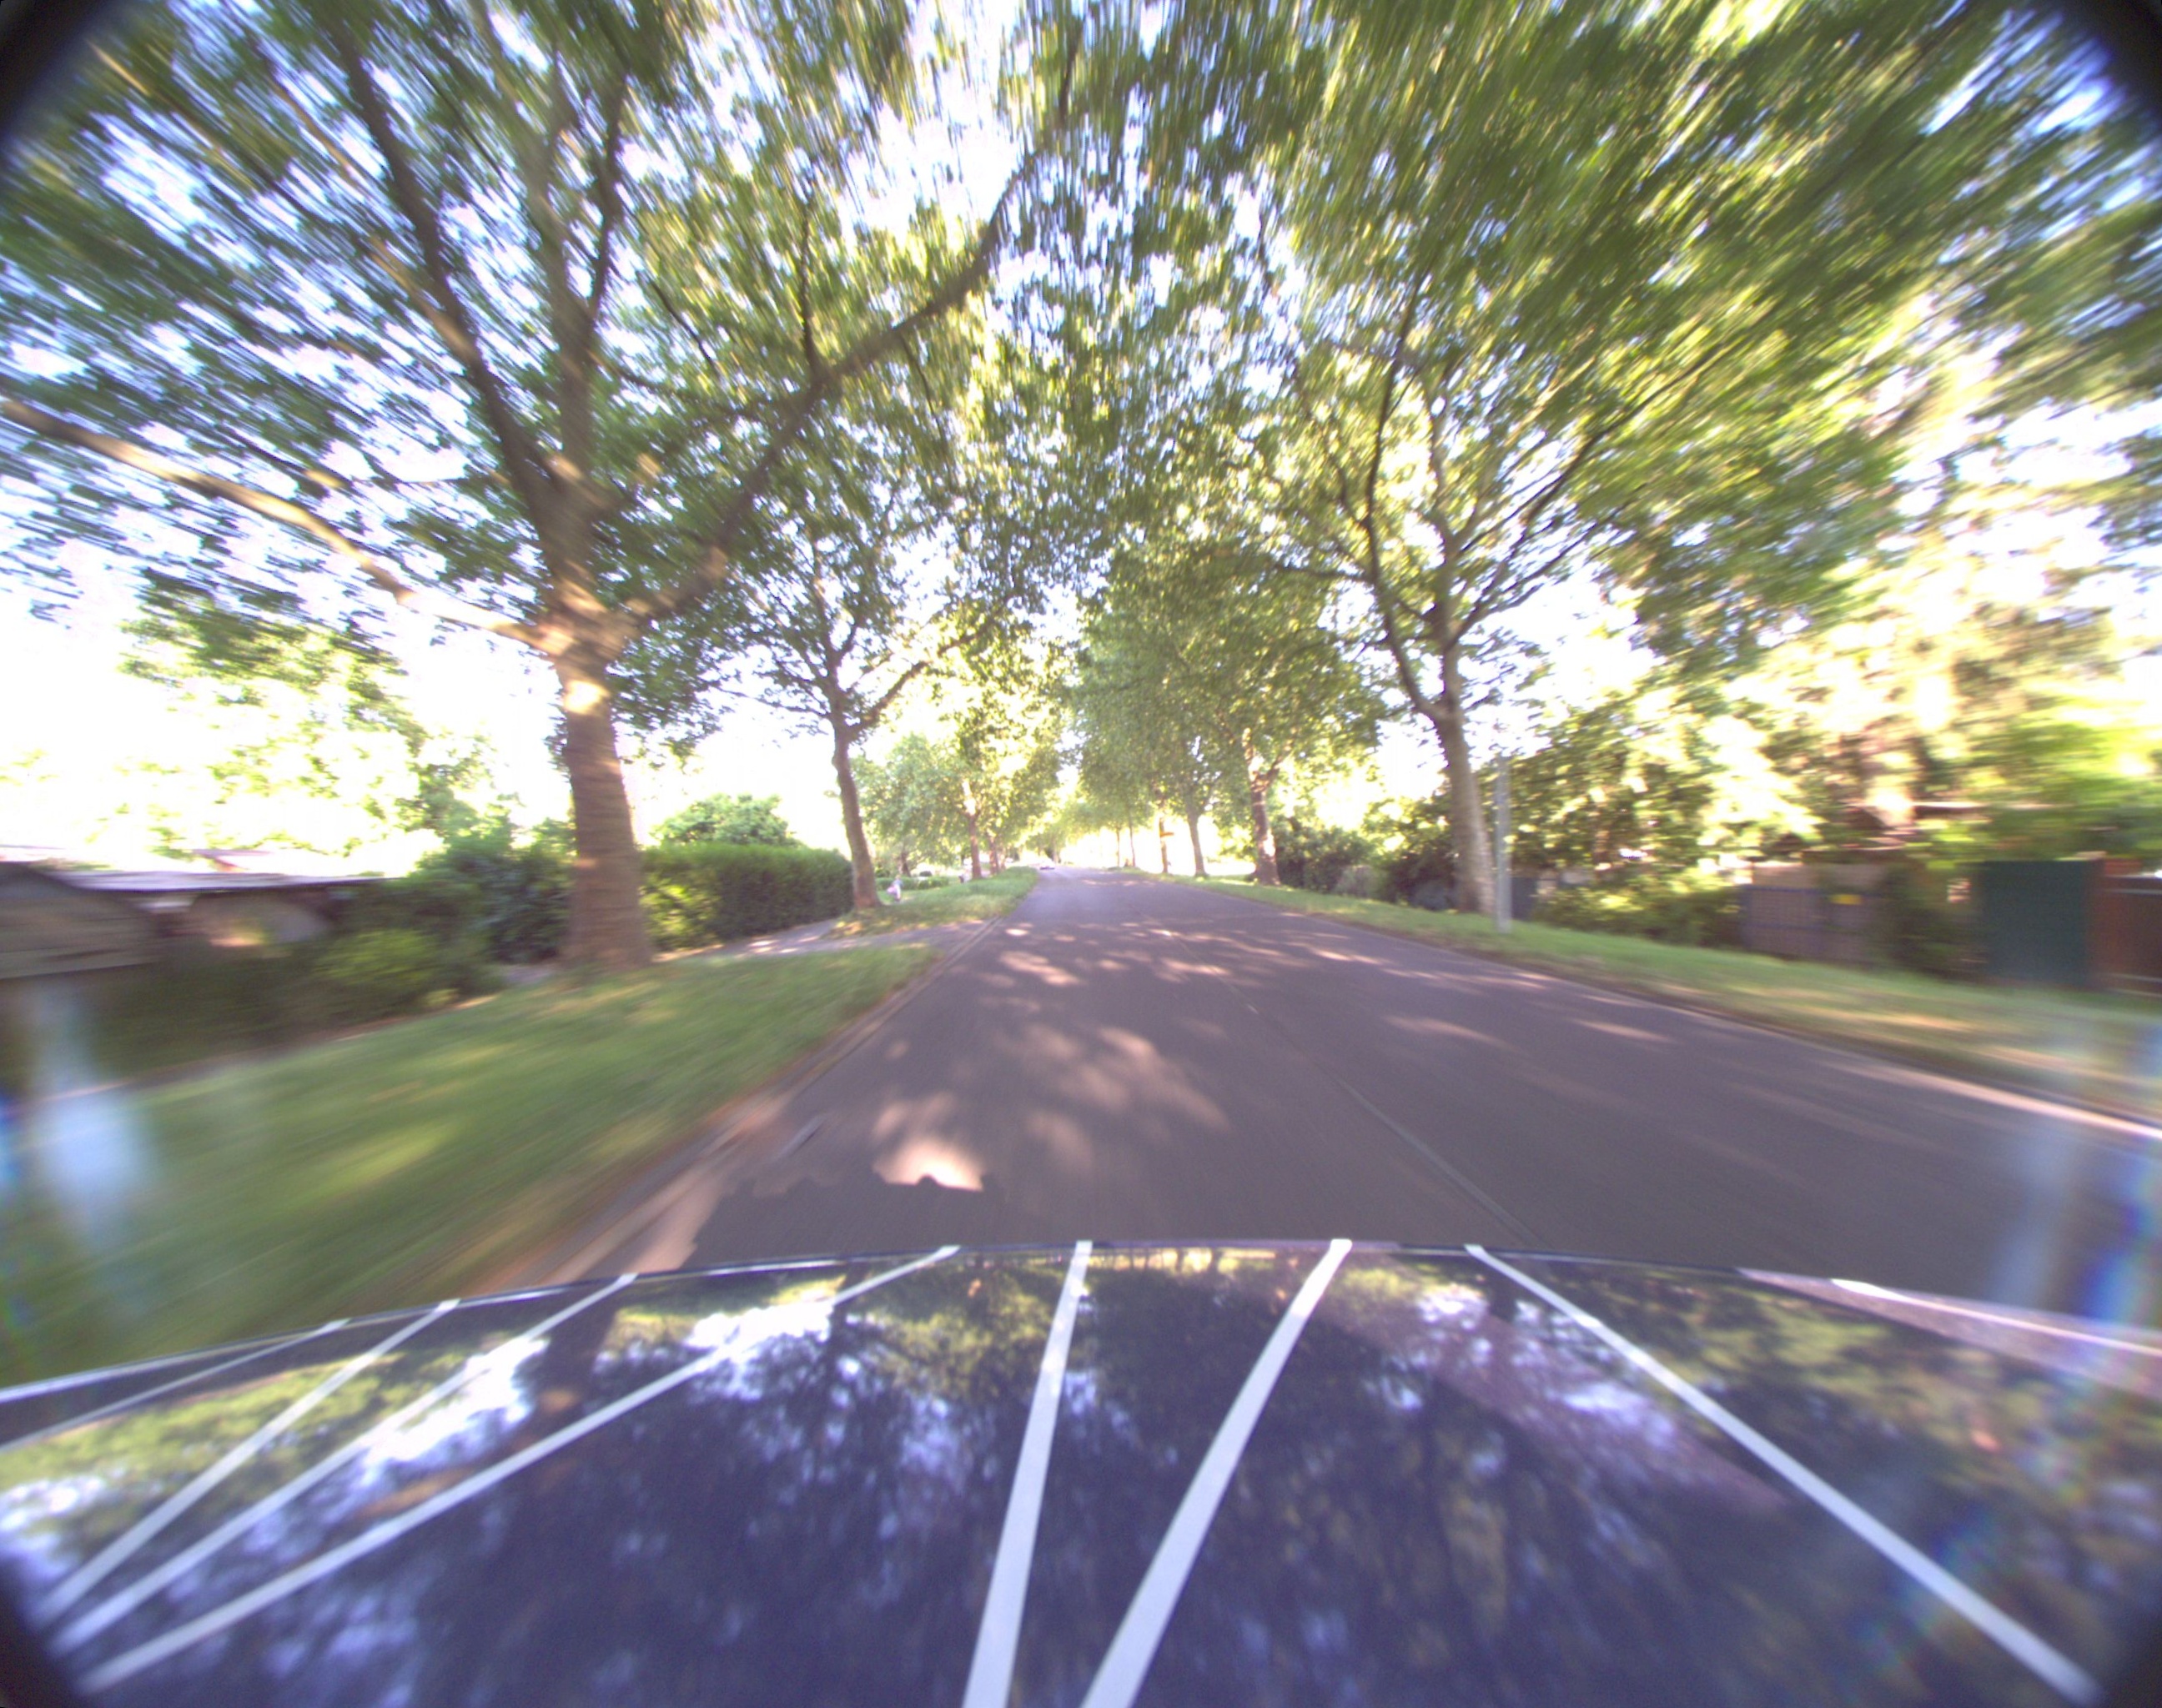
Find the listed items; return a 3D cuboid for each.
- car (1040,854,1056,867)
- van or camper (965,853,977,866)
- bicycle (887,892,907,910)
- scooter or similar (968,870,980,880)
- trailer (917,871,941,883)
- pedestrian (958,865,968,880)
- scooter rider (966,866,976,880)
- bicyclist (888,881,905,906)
[{"bbox_3d":[-4.469,0.894,103.696,1.999,1.655,3.998,-2,1,-4],"label":"car"},{"bbox_3d":[-24.229,1.140,167.936,2.388,2.783,5.680,-2,1,-8],"label":"van or camper"},{"bbox_3d":[-10.337,2.630,42.741,0.554,0.812,1.888,-2,1,1],"label":"bicycle"},{"bbox_3d":[-12.964,2.512,91.782,0.340,1.128,1.602,-1,1,36],"label":"scooter or similar"},{"bbox_3d":[-15.578,2.363,77.810,2.123,1.046,1.200,-2,1,0],"label":"trailer"},{"bbox_3d":[-13.040,2.061,84.003,0.844,1.567,0.785,-2,1,5],"label":"pedestrian"},{"bbox_3d":[-13.236,2.298,91.620,0.782,1.567,0.846,-3,0,33],"label":"scooter rider"},{"bbox_3d":[-10.348,2.207,42.664,0.736,1.358,0.771,-2,1,1],"label":"bicyclist"}]
